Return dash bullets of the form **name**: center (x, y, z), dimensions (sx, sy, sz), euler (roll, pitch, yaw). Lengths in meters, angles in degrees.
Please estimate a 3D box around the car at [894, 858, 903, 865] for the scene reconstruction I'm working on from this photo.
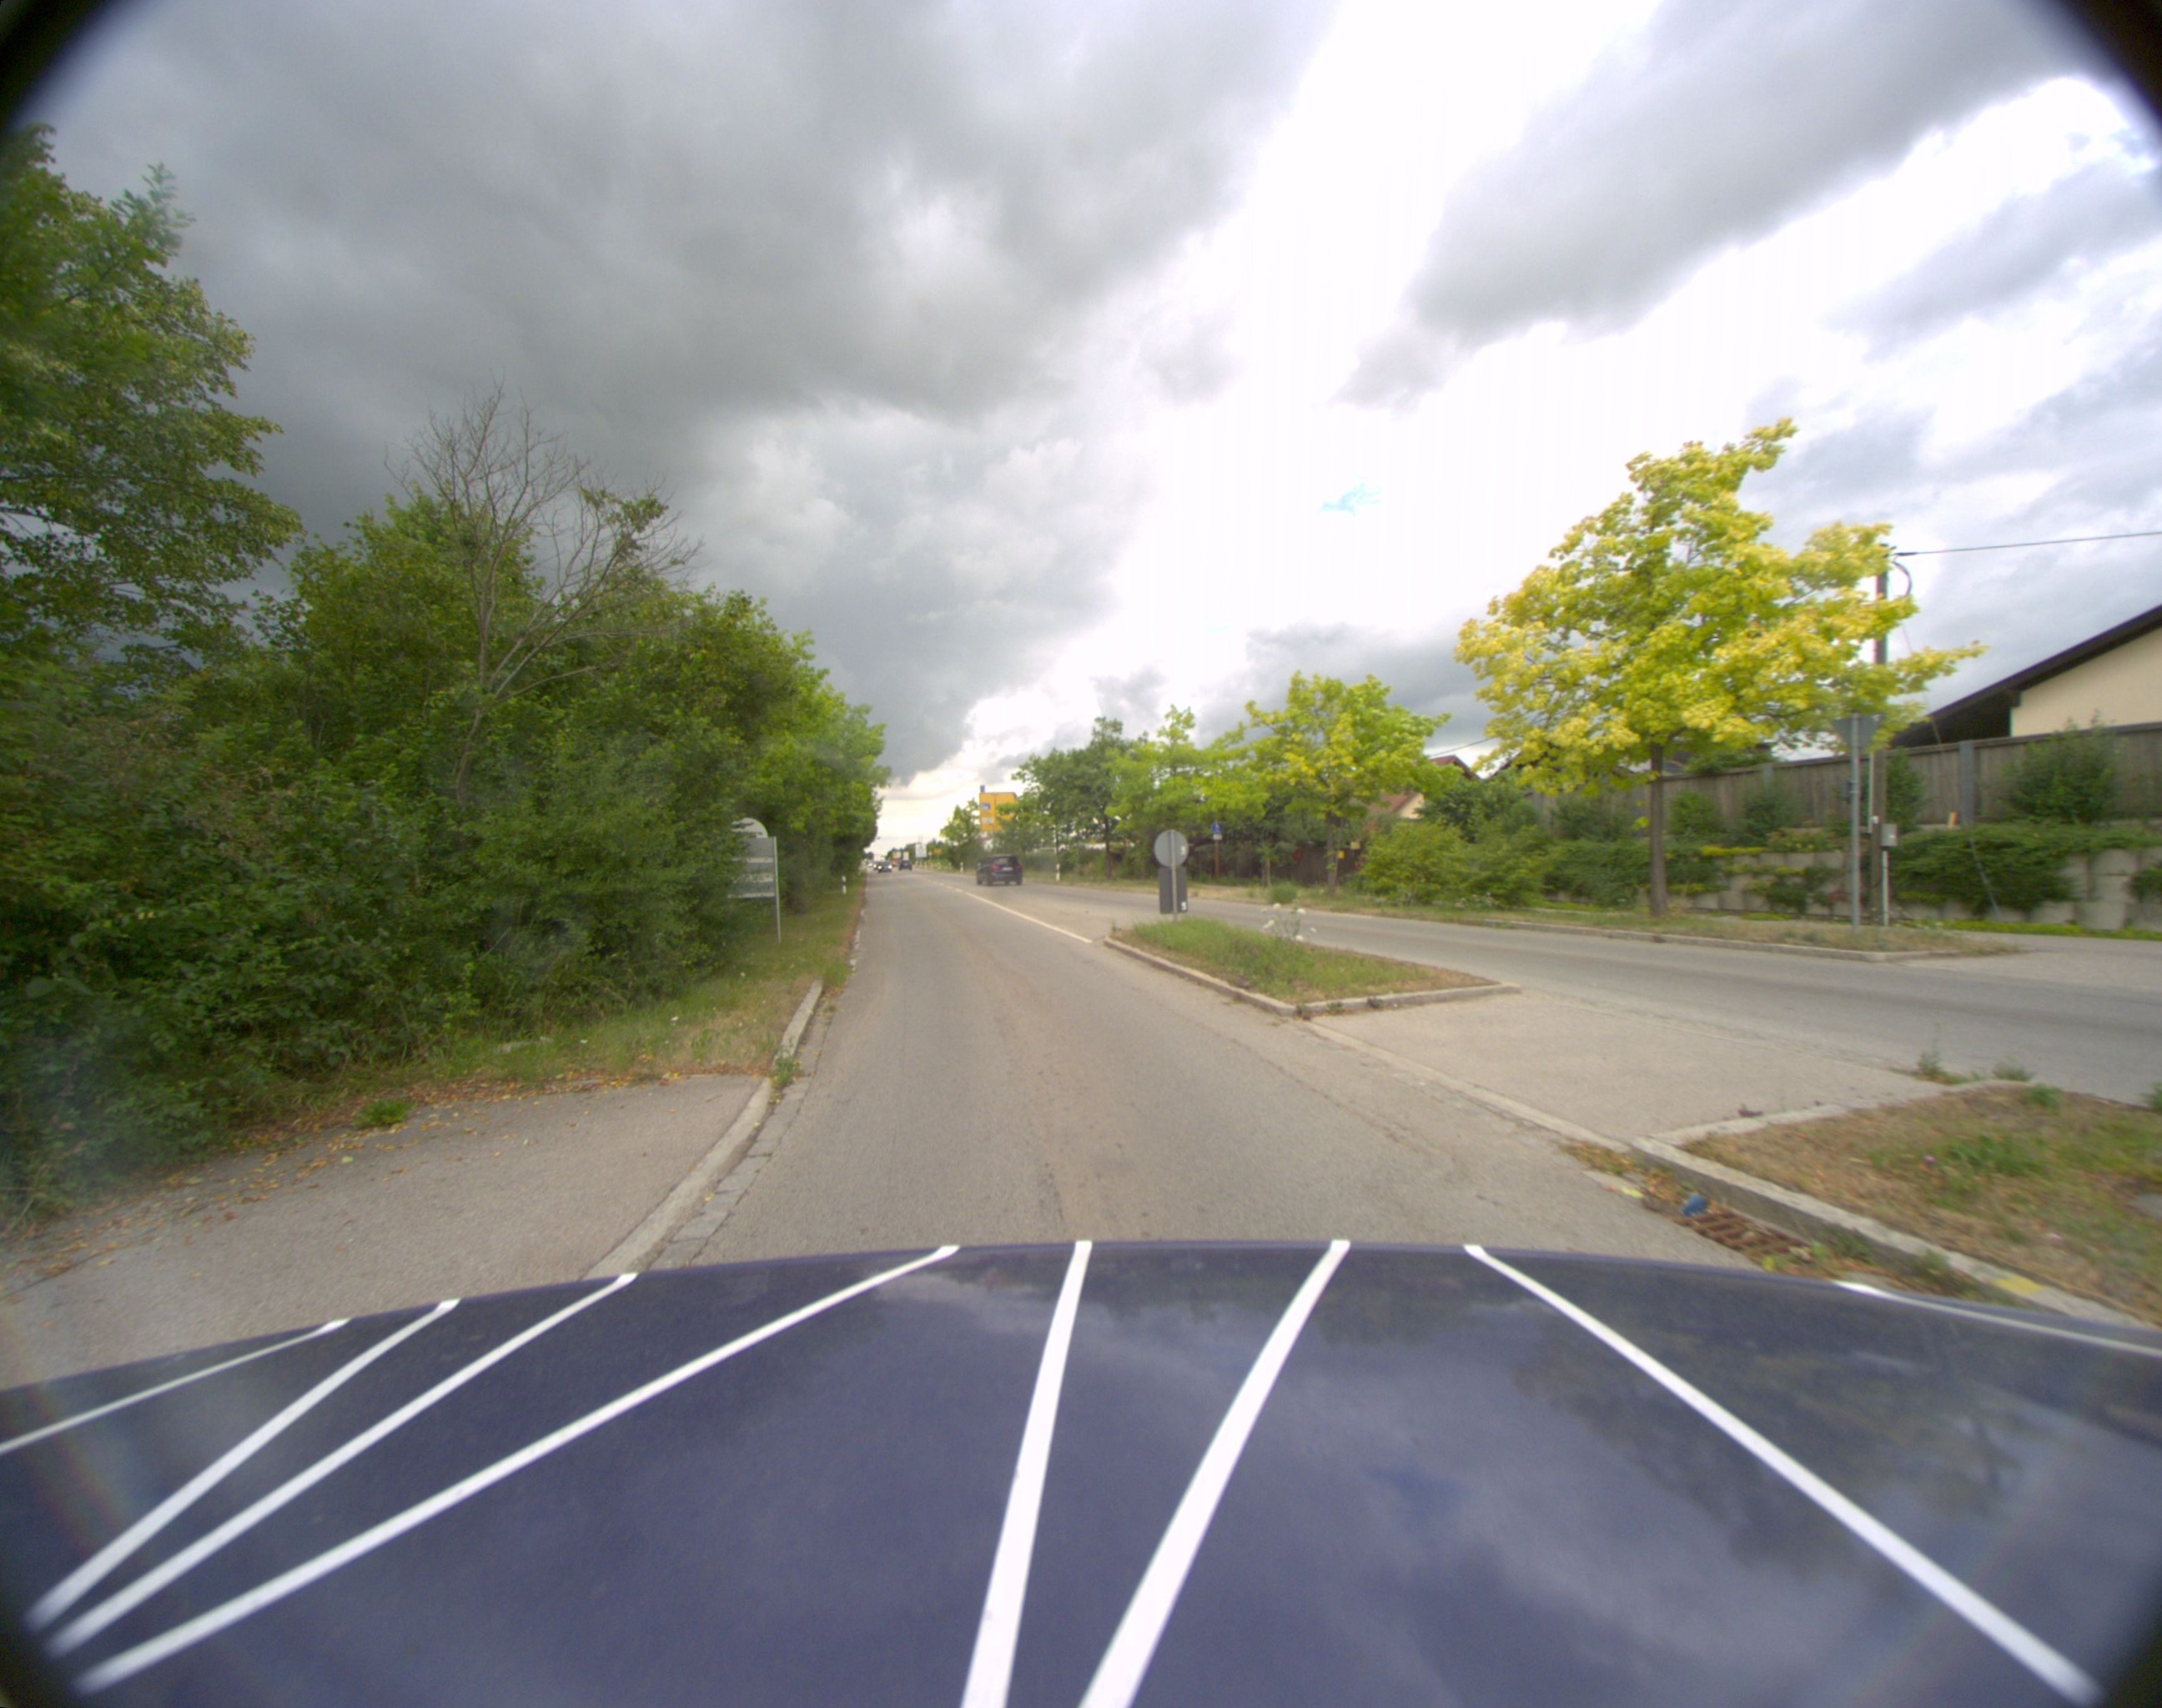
- **car**: center (-40.369, 1.728, 168.111), dimensions (1.823, 1.485, 4.198), euler (-1, 0, -16)

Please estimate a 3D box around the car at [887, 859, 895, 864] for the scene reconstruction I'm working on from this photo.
- **car**: center (-51.574, 1.995, 206.426), dimensions (1.859, 1.456, 4.364), euler (-2, 0, -16)

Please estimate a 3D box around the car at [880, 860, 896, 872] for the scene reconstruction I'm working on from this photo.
- **car**: center (-25.353, 1.577, 99.934), dimensions (1.871, 1.352, 3.821), euler (-2, 1, -16)

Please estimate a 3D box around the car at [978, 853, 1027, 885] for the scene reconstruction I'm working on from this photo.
- **car**: center (-4.199, 0.768, 40.084), dimensions (1.745, 1.576, 4.349), euler (-1, 0, -17)

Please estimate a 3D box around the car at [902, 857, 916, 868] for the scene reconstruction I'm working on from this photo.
- **car**: center (-25.216, 1.181, 111.309), dimensions (1.740, 1.525, 4.089), euler (-1, 0, -16)
